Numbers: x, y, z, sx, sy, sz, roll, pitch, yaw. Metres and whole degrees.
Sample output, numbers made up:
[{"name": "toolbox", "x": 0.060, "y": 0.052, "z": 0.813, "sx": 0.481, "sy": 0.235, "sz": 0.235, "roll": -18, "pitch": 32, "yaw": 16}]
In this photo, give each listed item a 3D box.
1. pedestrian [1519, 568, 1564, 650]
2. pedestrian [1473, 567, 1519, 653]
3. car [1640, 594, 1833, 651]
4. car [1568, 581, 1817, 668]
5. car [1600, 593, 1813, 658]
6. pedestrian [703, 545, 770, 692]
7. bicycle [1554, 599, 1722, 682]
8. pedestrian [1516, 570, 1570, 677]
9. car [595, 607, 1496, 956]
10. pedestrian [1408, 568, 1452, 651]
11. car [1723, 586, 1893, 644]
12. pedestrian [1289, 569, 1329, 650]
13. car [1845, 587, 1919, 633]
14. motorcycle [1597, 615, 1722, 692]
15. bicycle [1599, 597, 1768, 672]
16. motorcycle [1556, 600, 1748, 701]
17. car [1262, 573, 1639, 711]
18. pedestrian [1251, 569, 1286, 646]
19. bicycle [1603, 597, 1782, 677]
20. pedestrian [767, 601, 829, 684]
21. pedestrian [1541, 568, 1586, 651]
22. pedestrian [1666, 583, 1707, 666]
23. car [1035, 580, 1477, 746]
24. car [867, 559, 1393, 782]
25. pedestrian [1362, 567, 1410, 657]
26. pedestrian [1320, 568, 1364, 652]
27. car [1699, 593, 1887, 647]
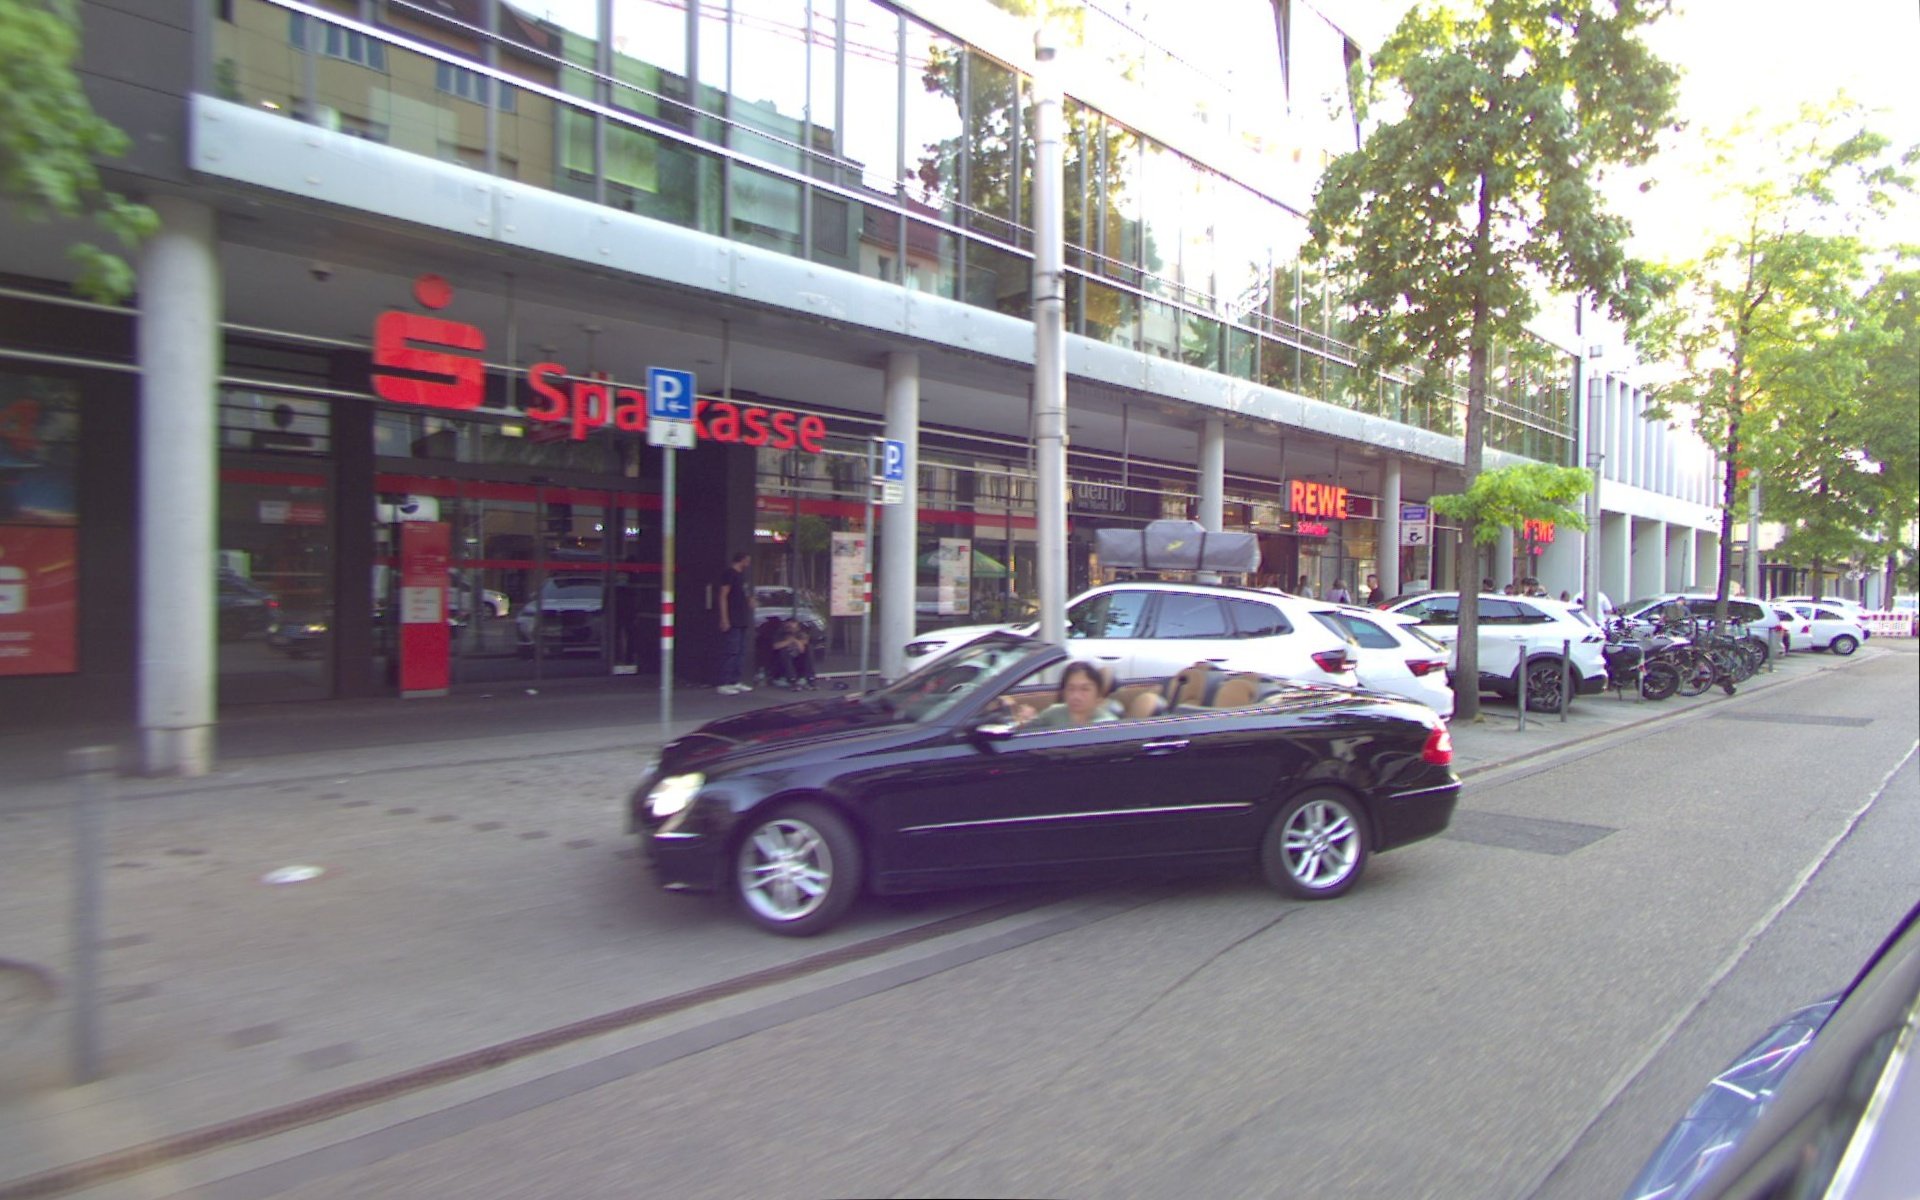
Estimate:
[{"name": "pedestrian", "x": 12.408, "y": 0.179, "z": 21.594, "sx": 0.617, "sy": 1.712, "sz": 0.617, "roll": 0, "pitch": 2, "yaw": -41}, {"name": "pedestrian", "x": 10.997, "y": 0.196, "z": 20.763, "sx": 0.617, "sy": 1.712, "sz": 0.617, "roll": 0, "pitch": 2, "yaw": -41}, {"name": "car", "x": 22.164, "y": 0.653, "z": 29.087, "sx": 3.948, "sy": 1.530, "sz": 1.789, "roll": -2, "pitch": -1, "yaw": 19}, {"name": "car", "x": 17.439, "y": 0.593, "z": 24.313, "sx": 4.397, "sy": 1.904, "sz": 1.793, "roll": -2, "pitch": -1, "yaw": 12}, {"name": "car", "x": 19.020, "y": 0.648, "z": 25.964, "sx": 3.937, "sy": 1.530, "sz": 1.793, "roll": -2, "pitch": -1, "yaw": 12}, {"name": "pedestrian", "x": -2.822, "y": 0.212, "z": 12.770, "sx": 0.617, "sy": 1.794, "sz": 0.557, "roll": 0, "pitch": 2, "yaw": -41}, {"name": "bicycle", "x": 12.471, "y": 0.740, "z": 18.712, "sx": 2.461, "sy": 1.475, "sz": 0.652, "roll": -1, "pitch": -1, "yaw": 24}, {"name": "pedestrian", "x": 10.191, "y": 0.386, "z": 17.700, "sx": 0.617, "sy": 1.822, "sz": 0.617, "roll": 0, "pitch": 2, "yaw": -41}, {"name": "car", "x": 0.421, "y": 0.779, "z": 5.674, "sx": 4.469, "sy": 1.426, "sz": 1.803, "roll": 0, "pitch": 0, "yaw": -13}, {"name": "pedestrian", "x": 9.985, "y": 0.190, "z": 21.512, "sx": 0.617, "sy": 1.712, "sz": 0.617, "roll": 0, "pitch": 2, "yaw": -41}, {"name": "car", "x": 28.496, "y": 0.515, "z": 34.175, "sx": 3.957, "sy": 1.809, "sz": 1.849, "roll": -2, "pitch": -1, "yaw": 25}, {"name": "pedestrian", "x": 7.543, "y": 0.193, "z": 21.887, "sx": 0.617, "sy": 1.712, "sz": 0.557, "roll": 0, "pitch": 2, "yaw": -41}, {"name": "car", "x": 38.937, "y": 0.384, "z": 41.441, "sx": 3.919, "sy": 1.809, "sz": 1.867, "roll": -1, "pitch": -1, "yaw": -7}, {"name": "motorcycle", "x": 11.490, "y": 0.856, "z": 16.681, "sx": 1.554, "sy": 1.113, "sz": 0.624, "roll": 3, "pitch": 2, "yaw": 24}, {"name": "bicycle", "x": 14.637, "y": 0.706, "z": 20.571, "sx": 2.643, "sy": 1.475, "sz": 0.671, "roll": -1, "pitch": -1, "yaw": 23}, {"name": "motorcycle", "x": 10.555, "y": 0.743, "z": 15.525, "sx": 2.071, "sy": 1.370, "sz": 1.157, "roll": 2, "pitch": 2, "yaw": 0}, {"name": "car", "x": 6.885, "y": 0.514, "z": 14.801, "sx": 4.570, "sy": 1.607, "sz": 1.910, "roll": 3, "pitch": 2, "yaw": 14}, {"name": "pedestrian", "x": 7.028, "y": 0.159, "z": 23.078, "sx": 0.617, "sy": 1.712, "sz": 0.557, "roll": 1, "pitch": 1, "yaw": 6}, {"name": "bicycle", "x": 14.079, "y": 0.721, "z": 19.556, "sx": 2.642, "sy": 1.475, "sz": 0.724, "roll": -1, "pitch": -1, "yaw": 22}, {"name": "pedestrian", "x": -2.176, "y": 0.553, "z": 13.588, "sx": 0.625, "sy": 1.048, "sz": 0.550, "roll": 2, "pitch": 2, "yaw": 40}, {"name": "pedestrian", "x": 12.682, "y": 0.183, "z": 21.275, "sx": 0.617, "sy": 1.712, "sz": 0.617, "roll": 0, "pitch": 2, "yaw": -41}, {"name": "pedestrian", "x": 15.352, "y": 0.503, "z": 21.381, "sx": 0.616, "sy": 1.712, "sz": 0.618, "roll": 1, "pitch": 1, "yaw": 44}, {"name": "car", "x": 3.372, "y": 0.595, "z": 11.903, "sx": 4.583, "sy": 1.457, "sz": 1.905, "roll": 3, "pitch": 2, "yaw": 22}, {"name": "car", "x": 1.597, "y": 0.550, "z": 9.900, "sx": 4.575, "sy": 1.650, "sz": 1.908, "roll": 3, "pitch": 1, "yaw": 17}, {"name": "pedestrian", "x": 8.282, "y": 0.219, "z": 19.669, "sx": 0.617, "sy": 1.712, "sz": 0.617, "roll": 0, "pitch": 2, "yaw": -41}, {"name": "pedestrian", "x": 8.044, "y": 0.199, "z": 21.303, "sx": 0.617, "sy": 1.712, "sz": 0.617, "roll": 0, "pitch": 2, "yaw": -41}, {"name": "car", "x": 25.247, "y": 0.619, "z": 30.852, "sx": 3.948, "sy": 1.530, "sz": 1.853, "roll": -2, "pitch": -1, "yaw": 19}]
